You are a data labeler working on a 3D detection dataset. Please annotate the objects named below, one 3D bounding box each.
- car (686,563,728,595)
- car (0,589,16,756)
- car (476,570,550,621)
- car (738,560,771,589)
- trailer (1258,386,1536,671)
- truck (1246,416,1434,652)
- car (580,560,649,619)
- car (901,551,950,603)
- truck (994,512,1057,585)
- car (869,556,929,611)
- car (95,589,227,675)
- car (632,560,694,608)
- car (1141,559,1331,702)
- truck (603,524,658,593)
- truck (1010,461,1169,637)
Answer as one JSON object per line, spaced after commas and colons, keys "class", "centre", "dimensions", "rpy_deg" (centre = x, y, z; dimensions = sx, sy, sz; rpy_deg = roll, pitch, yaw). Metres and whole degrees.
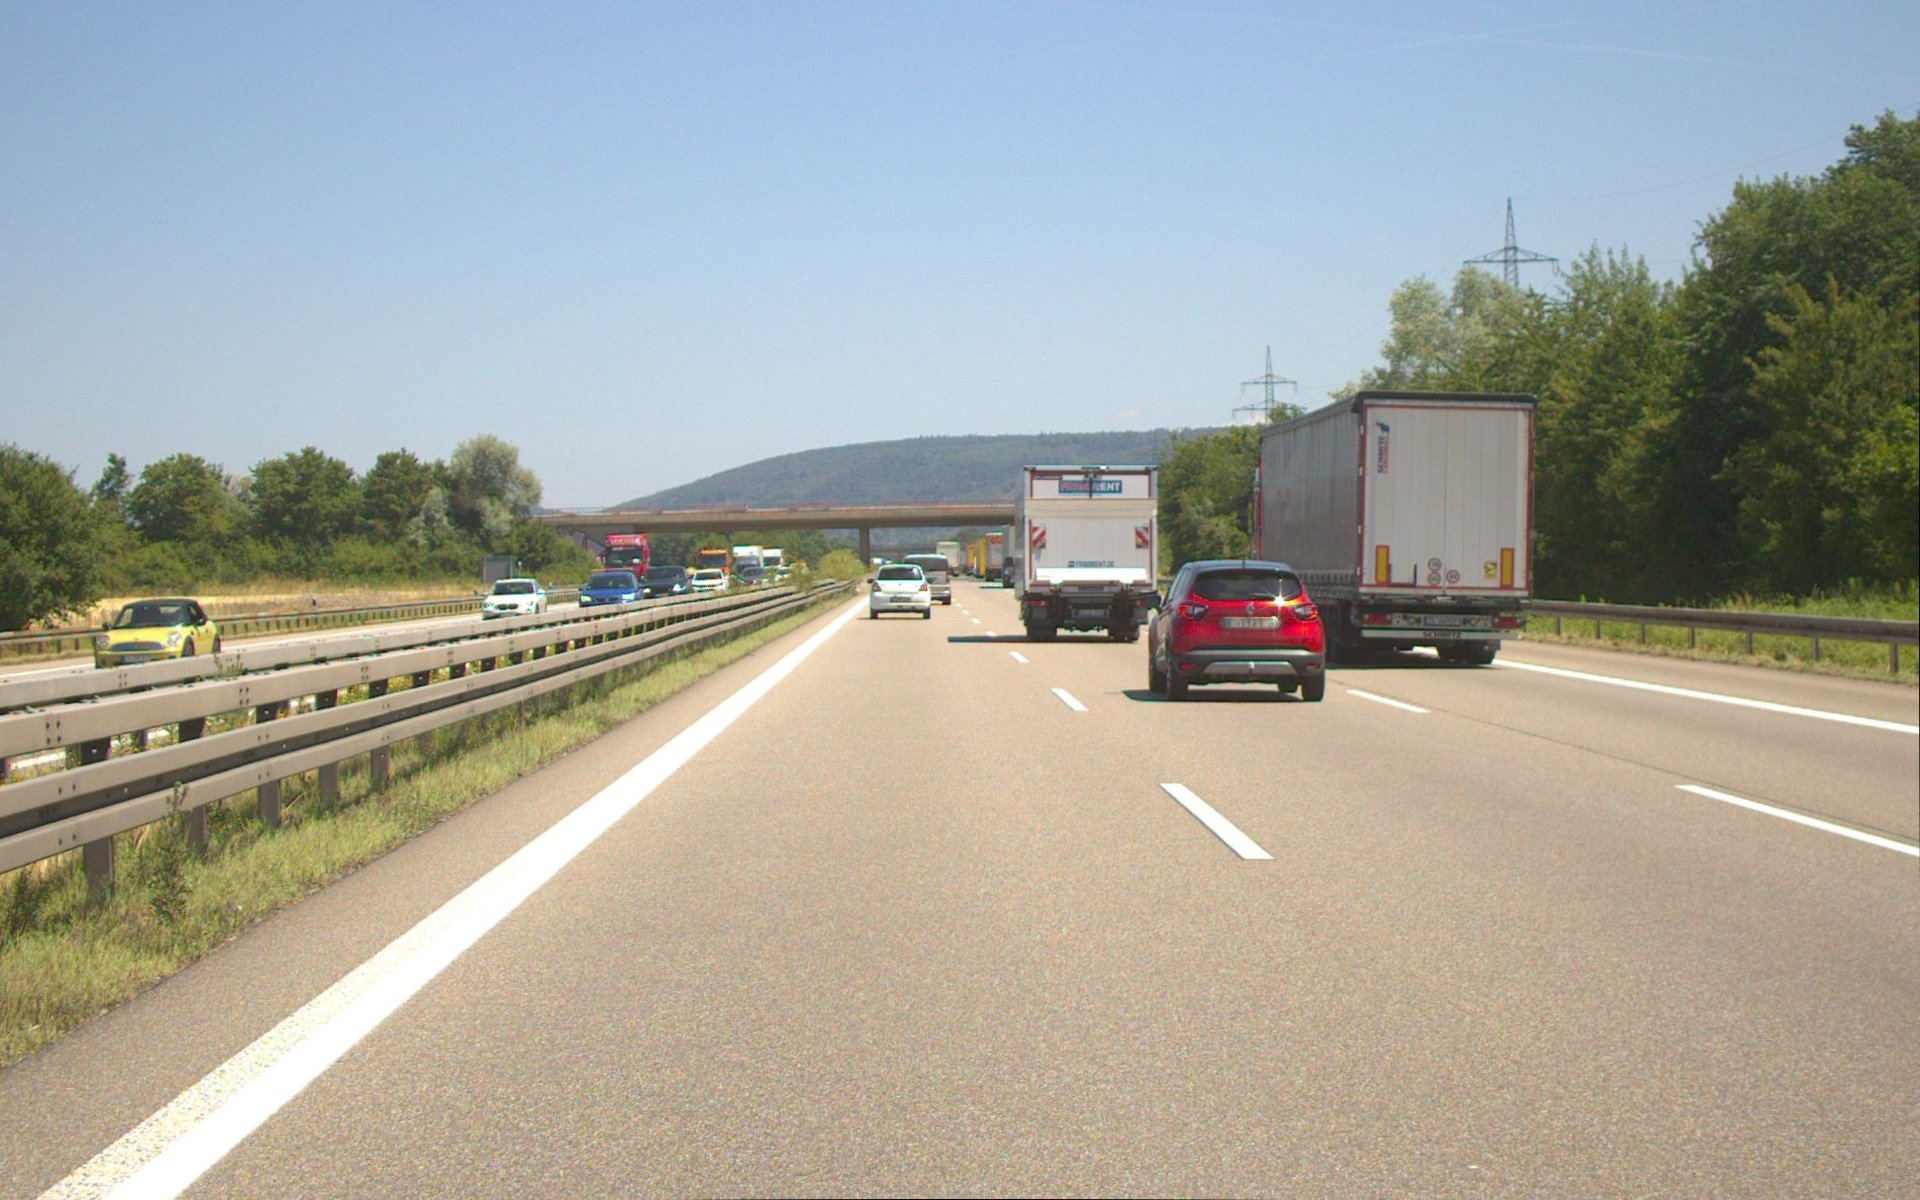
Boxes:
{"class": "car", "centre": [-12.606, -1.051, 171.415], "dimensions": [1.809, 1.531, 3.962], "rpy_deg": [-2, 1, -1]}
{"class": "car", "centre": [-9.485, 0.711, 29.124], "dimensions": [1.795, 1.487, 4.238], "rpy_deg": [-2, 1, -1]}
{"class": "car", "centre": [-14.524, -0.170, 111.889], "dimensions": [1.879, 1.561, 4.192], "rpy_deg": [-2, 1, -1]}
{"class": "car", "centre": [-12.457, -1.542, 208.367], "dimensions": [1.809, 1.642, 3.962], "rpy_deg": [-2, 1, -1]}
{"class": "trailer", "centre": [6.982, -1.120, 57.089], "dimensions": [2.789, 4.149, 13.575], "rpy_deg": [0, 1, 0]}
{"class": "truck", "centre": [6.959, -1.202, 63.731], "dimensions": [2.795, 4.149, 5.723], "rpy_deg": [0, 1, 0]}
{"class": "car", "centre": [-10.784, -0.333, 107.505], "dimensions": [1.767, 1.744, 3.986], "rpy_deg": [-2, 1, -1]}
{"class": "car", "centre": [-1.285, -0.875, 128.464], "dimensions": [1.761, 1.844, 4.000], "rpy_deg": [-1, 1, 0]}
{"class": "truck", "centre": [4.129, -3.277, 220.381], "dimensions": [3.520, 4.401, 14.592], "rpy_deg": [-2, 1, -1]}
{"class": "car", "centre": [-1.690, -0.488, 96.350], "dimensions": [1.607, 1.462, 4.000], "rpy_deg": [-1, 1, 0]}
{"class": "car", "centre": [-14.521, 0.563, 62.641], "dimensions": [1.582, 1.423, 3.477], "rpy_deg": [-2, 1, -1]}
{"class": "car", "centre": [-11.369, -0.628, 131.831], "dimensions": [1.959, 1.766, 4.443], "rpy_deg": [-2, 1, -1]}
{"class": "car", "centre": [3.094, 0.307, 39.252], "dimensions": [1.803, 1.540, 4.000], "rpy_deg": [0, 1, -1]}
{"class": "truck", "centre": [-20.140, -2.541, 210.162], "dimensions": [2.760, 4.001, 5.751], "rpy_deg": [-3, 1, -1]}
{"class": "truck", "centre": [2.546, -1.013, 70.069], "dimensions": [2.782, 3.361, 8.128], "rpy_deg": [0, 0, -1]}
